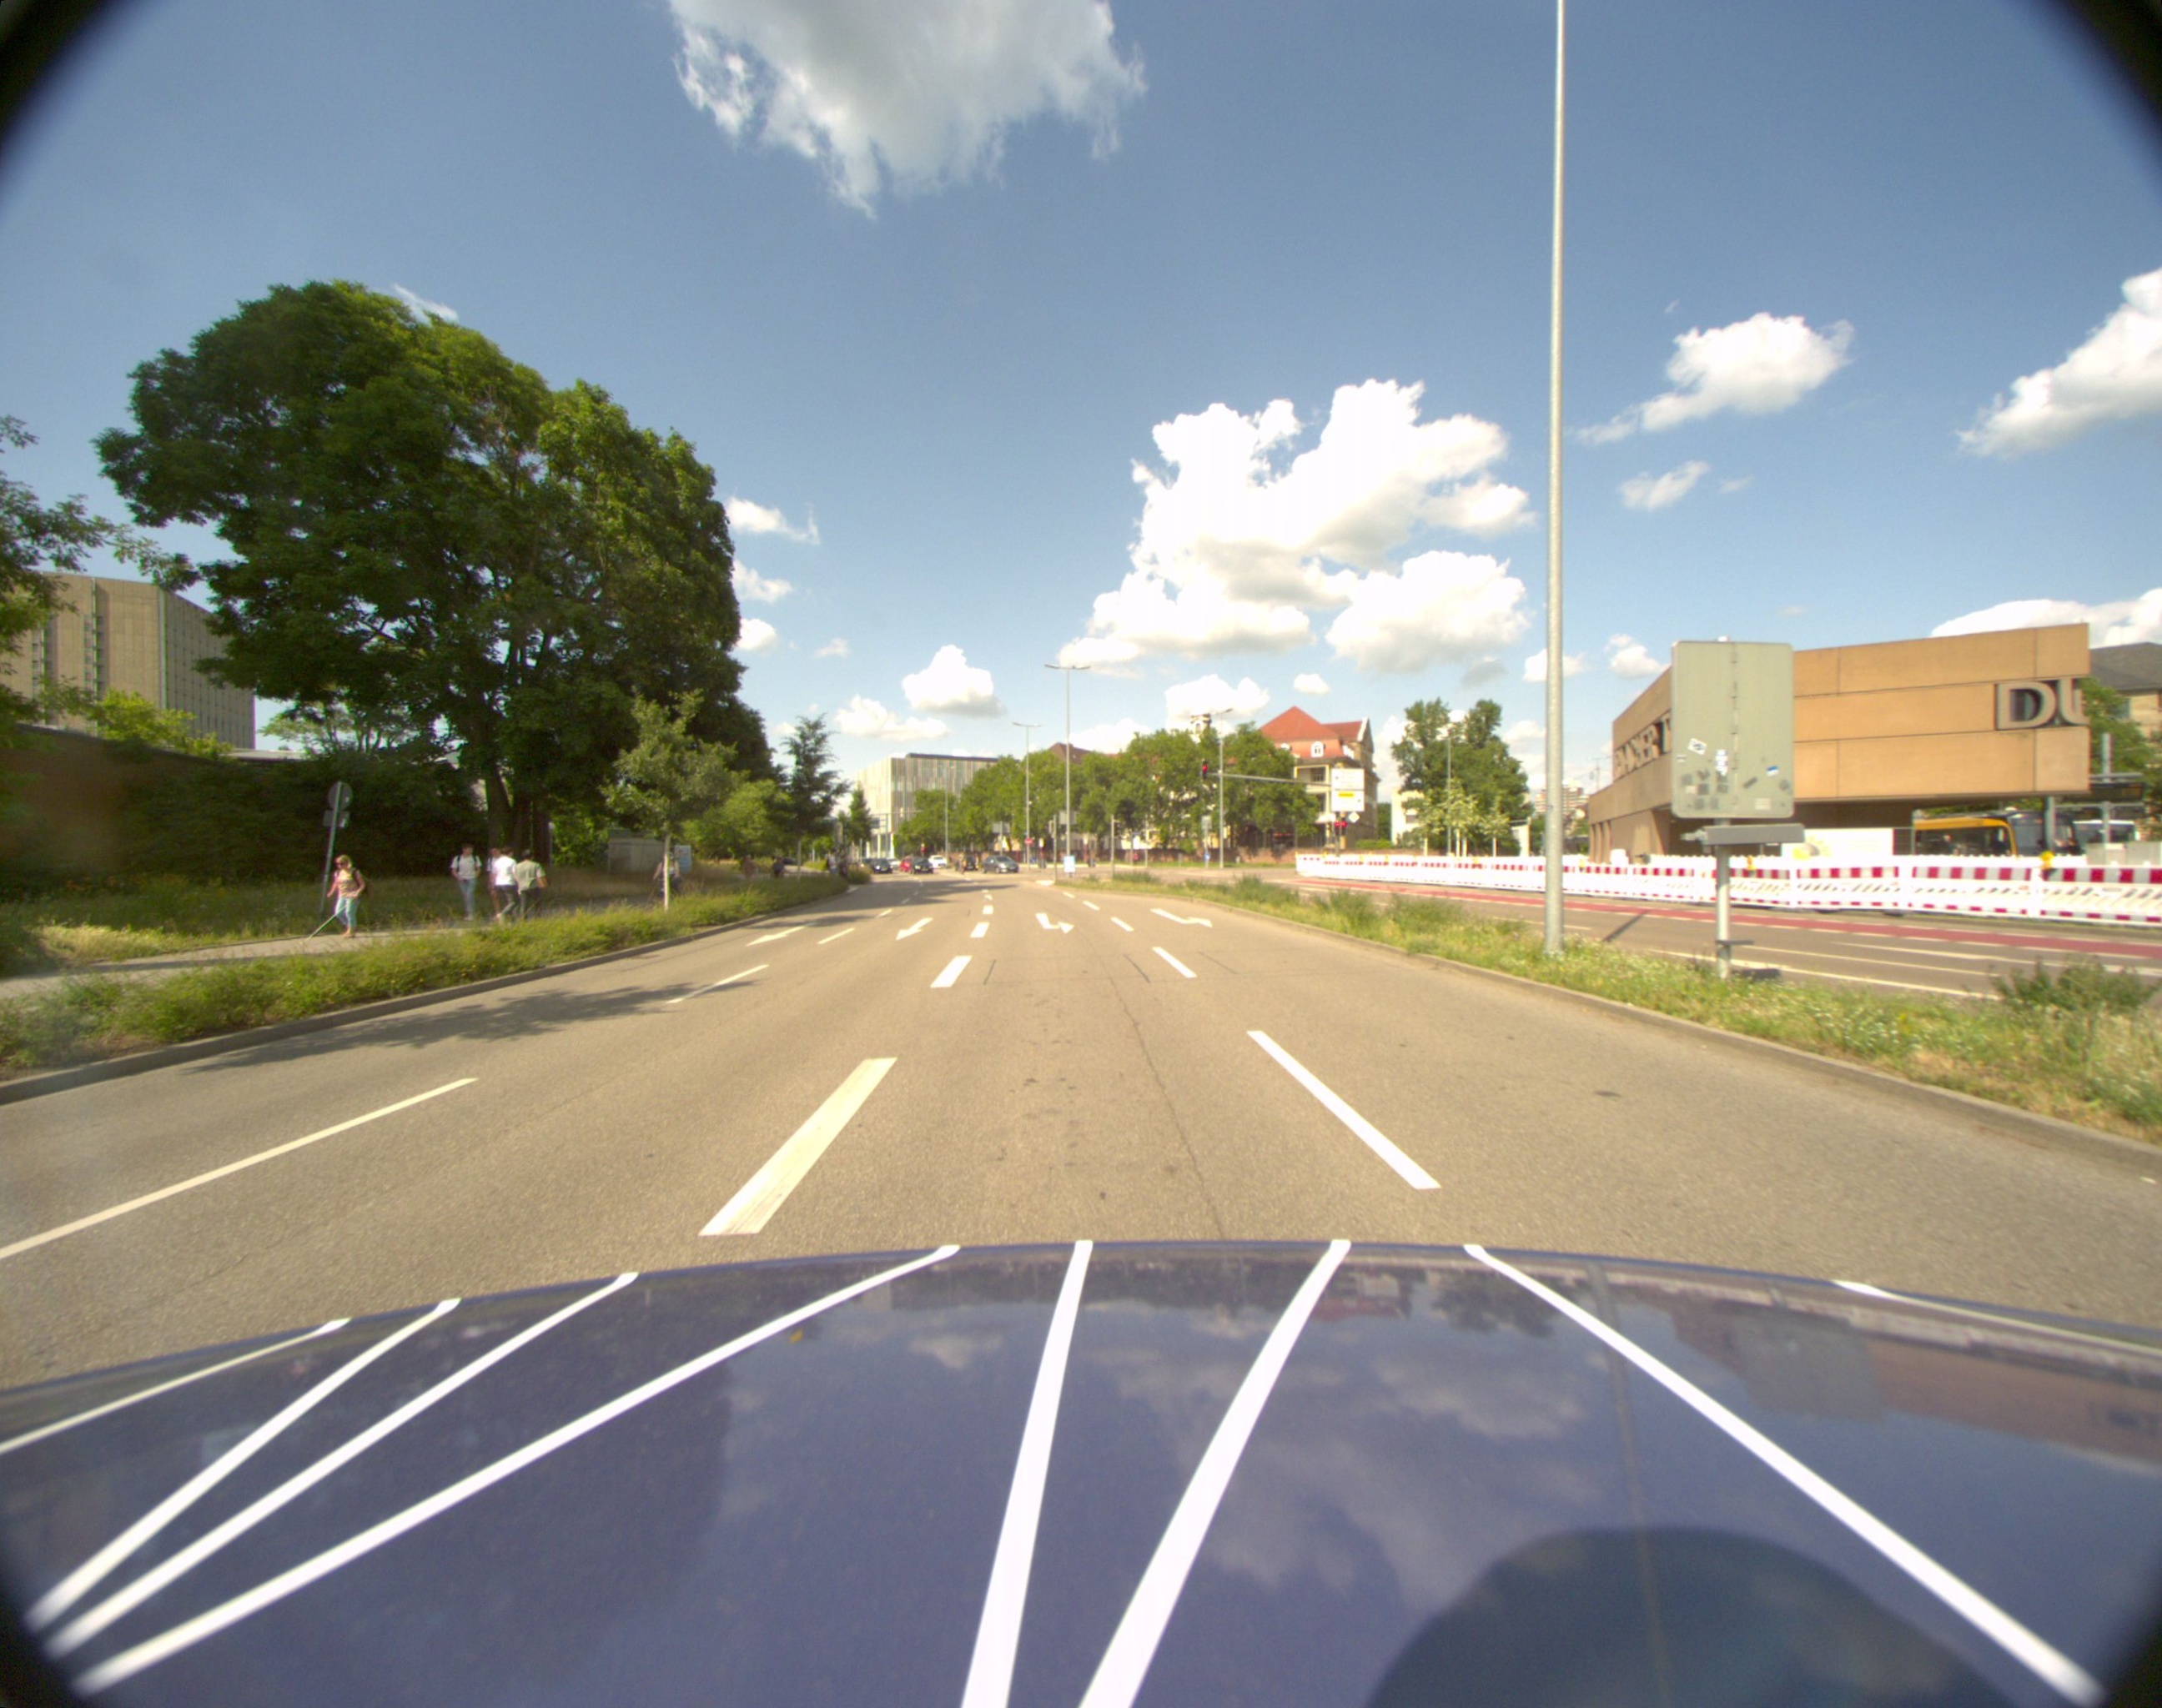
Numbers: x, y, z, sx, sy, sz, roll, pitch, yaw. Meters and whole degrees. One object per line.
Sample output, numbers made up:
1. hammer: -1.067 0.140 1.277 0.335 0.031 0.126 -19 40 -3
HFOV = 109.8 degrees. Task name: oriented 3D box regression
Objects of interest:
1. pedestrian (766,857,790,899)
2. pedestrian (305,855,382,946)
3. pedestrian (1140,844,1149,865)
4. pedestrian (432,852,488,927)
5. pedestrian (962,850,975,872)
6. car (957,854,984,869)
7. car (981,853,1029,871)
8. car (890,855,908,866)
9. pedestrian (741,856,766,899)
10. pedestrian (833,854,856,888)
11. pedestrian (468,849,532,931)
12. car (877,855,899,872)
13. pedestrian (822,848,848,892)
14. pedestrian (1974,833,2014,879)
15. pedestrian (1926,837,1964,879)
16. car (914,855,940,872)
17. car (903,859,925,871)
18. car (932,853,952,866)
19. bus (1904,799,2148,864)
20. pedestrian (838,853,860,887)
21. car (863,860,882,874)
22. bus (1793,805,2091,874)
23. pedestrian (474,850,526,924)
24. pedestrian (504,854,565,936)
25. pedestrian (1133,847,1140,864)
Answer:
1. pedestrian: -12.901 0.998 32.354 0.768 1.725 0.718 -2 1 -12
2. pedestrian: -13.713 0.851 14.148 0.616 1.613 0.889 2 1 -9
3. pedestrian: 6.218 0.043 74.775 0.582 1.982 0.621 -3 2 -31
4. pedestrian: -14.471 0.817 17.729 0.616 1.690 0.889 2 1 -9
5. pedestrian: -9.315 0.572 62.778 0.739 1.704 0.874 -3 2 -26
6. car: -10.563 0.659 72.311 1.735 1.327 3.782 -2 1 -21
7. car: -6.274 0.667 62.386 2.003 1.368 4.258 -2 1 -35
8. car: -20.550 0.728 85.688 1.911 1.127 4.096 -1 1 -15
9. pedestrian: -13.653 0.969 31.684 0.768 1.725 0.718 -2 1 -12
10. pedestrian: -12.084 0.861 38.844 0.928 1.725 0.768 -2 1 -6
11. pedestrian: -12.764 0.764 16.719 0.744 1.736 0.889 2 1 -9
12. car: -17.900 0.843 70.417 1.828 1.454 3.995 -1 0 -15
13. pedestrian: -11.730 0.757 36.277 0.965 2.002 0.768 -2 1 -6
14. pedestrian: 32.216 0.065 26.821 0.731 1.620 0.561 0 1 24
15. pedestrian: 34.098 0.156 30.000 0.653 1.622 0.765 -1 1 -14
16. car: -13.632 0.811 66.993 1.828 1.454 3.994 -1 0 -17
17. car: -16.604 1.050 75.376 1.600 1.127 3.623 -1 0 -20
18. car: -15.771 0.567 86.248 1.781 1.346 3.994 -2 1 -16
19. bus: 61.832 -1.364 50.900 3.599 3.611 18.906 0 1 30
20. pedestrian: -12.090 0.841 39.623 0.928 1.725 0.768 -2 1 -6
21. car: -22.095 1.353 80.675 1.828 1.454 3.995 -1 0 -14
22. bus: 49.978 -0.748 46.091 3.467 3.165 23.821 0 0 27
23. pedestrian: -13.767 0.775 18.021 0.616 1.690 0.889 2 1 -9
24. pedestrian: -12.013 0.883 16.729 0.744 1.744 0.889 2 1 -9
25. pedestrian: 5.585 0.164 76.438 0.368 1.722 0.451 -1 2 39
